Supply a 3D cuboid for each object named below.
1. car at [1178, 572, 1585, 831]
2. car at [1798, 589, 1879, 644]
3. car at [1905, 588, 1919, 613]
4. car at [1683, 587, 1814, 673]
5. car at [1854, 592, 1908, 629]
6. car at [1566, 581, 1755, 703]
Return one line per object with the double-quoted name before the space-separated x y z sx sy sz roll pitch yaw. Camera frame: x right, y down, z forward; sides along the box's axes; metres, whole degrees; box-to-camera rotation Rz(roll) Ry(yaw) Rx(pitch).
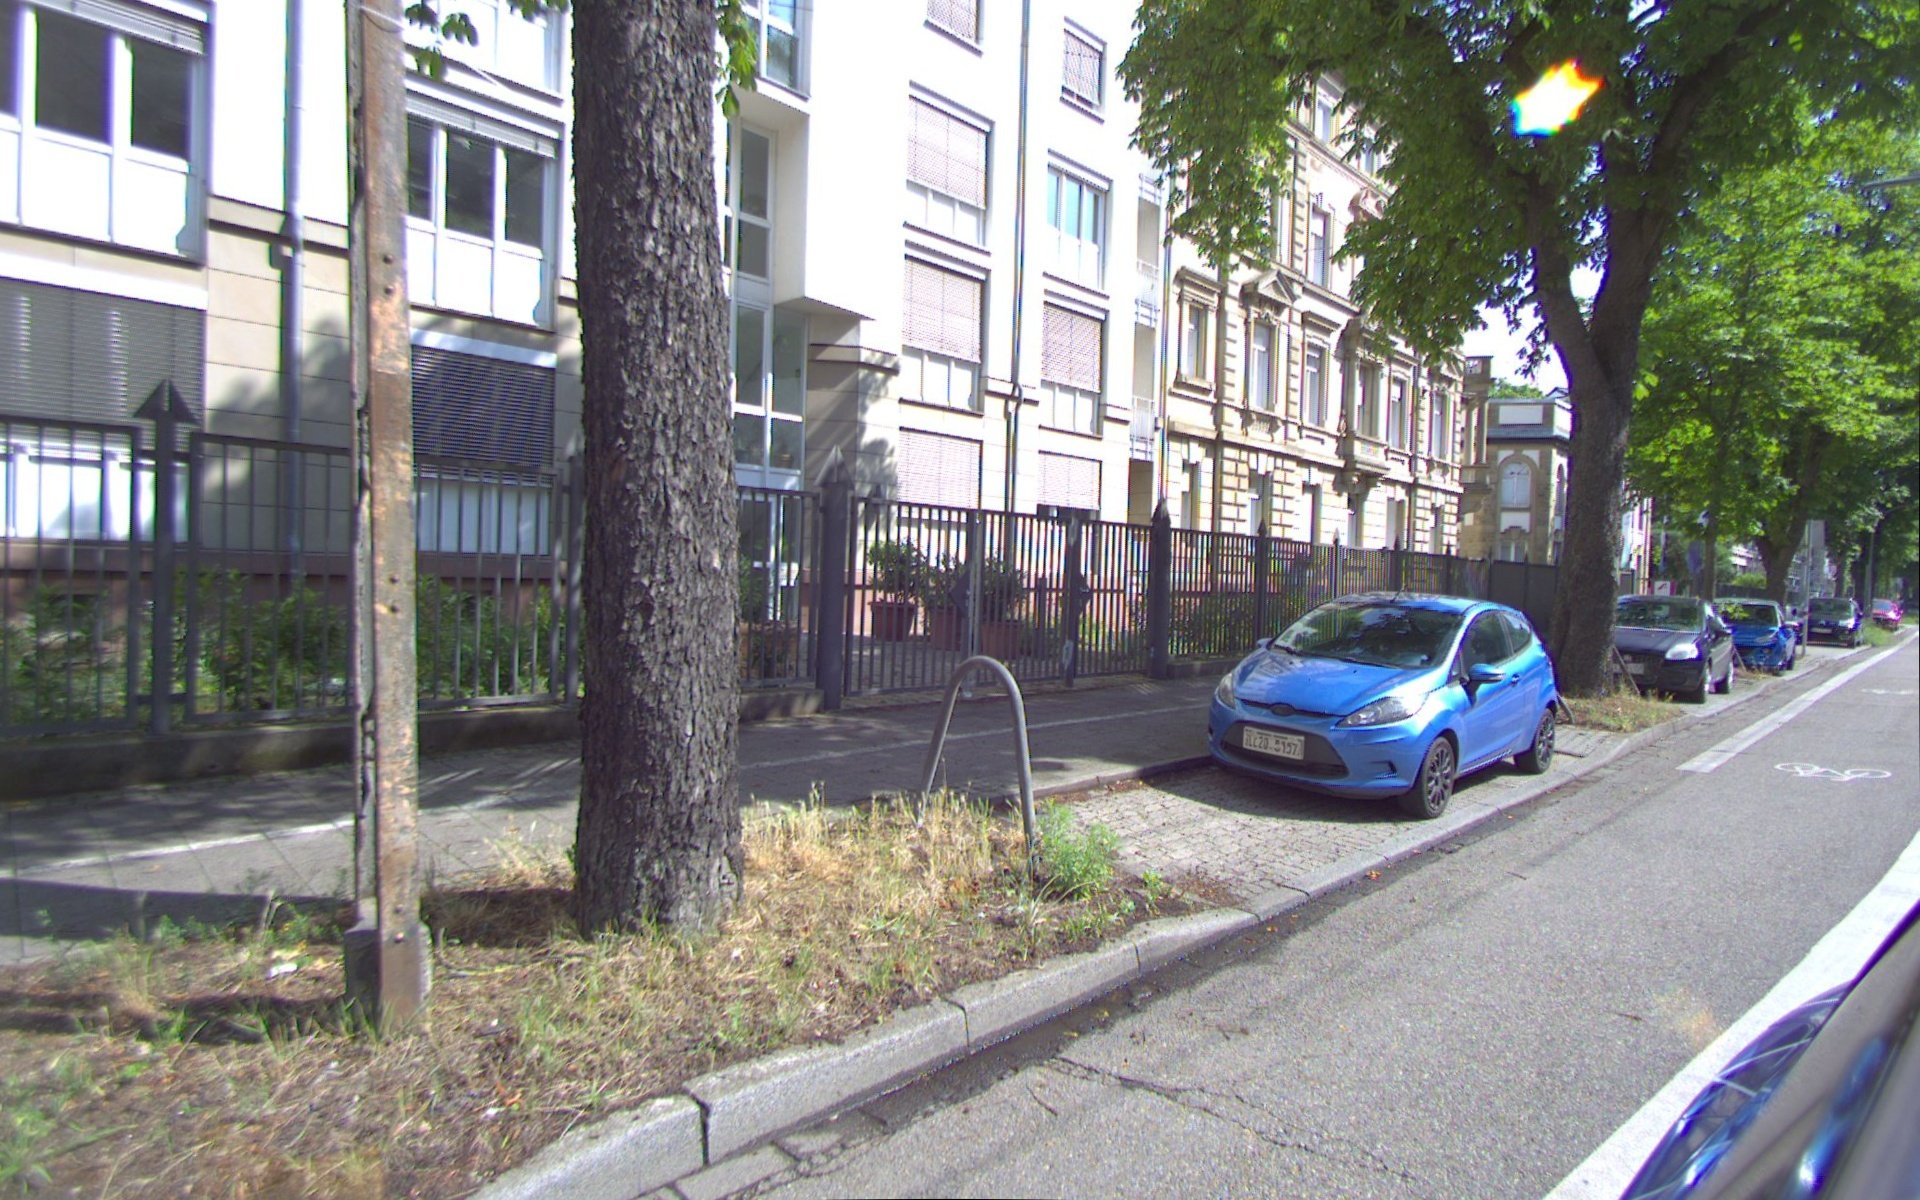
"car" 3.490 0.609 8.080 3.601 1.493 1.644 0 5 -44
"car" 29.407 0.506 33.844 1.741 1.592 3.602 7 5 44
"car" 63.247 0.069 66.288 1.741 1.592 3.867 7 5 44
"car" 16.392 0.551 20.980 1.676 1.493 3.602 7 5 44
"car" 45.397 0.482 49.850 1.741 1.592 3.867 7 5 44
"car" 10.644 0.540 15.284 1.676 1.493 3.602 7 5 44
